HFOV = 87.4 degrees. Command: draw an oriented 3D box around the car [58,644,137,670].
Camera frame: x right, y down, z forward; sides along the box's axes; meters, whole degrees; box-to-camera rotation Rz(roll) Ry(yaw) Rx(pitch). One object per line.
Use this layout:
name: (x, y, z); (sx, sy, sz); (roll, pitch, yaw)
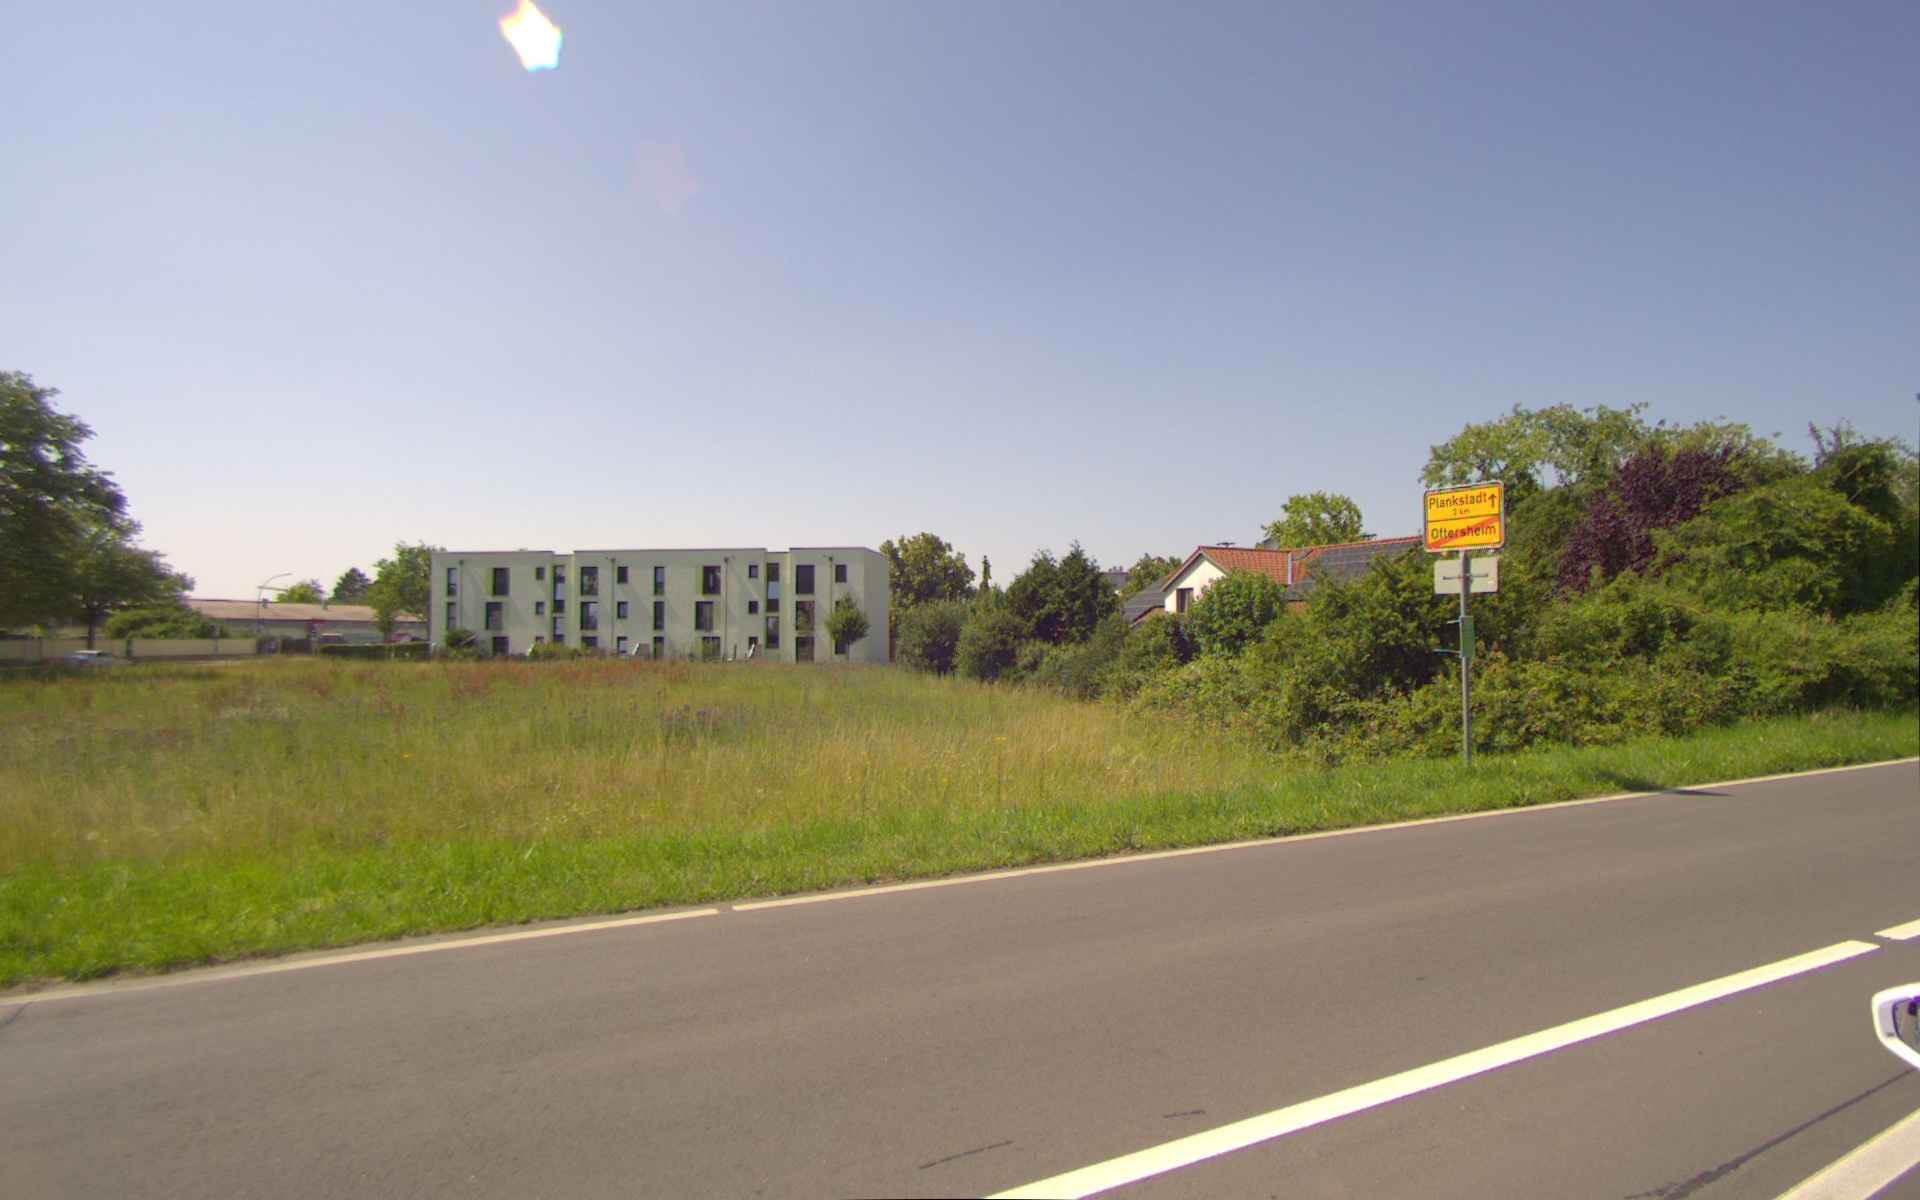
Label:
car: (-52.204, 3.420, 60.917); (1.612, 1.490, 4.408); (0, -2, -10)
